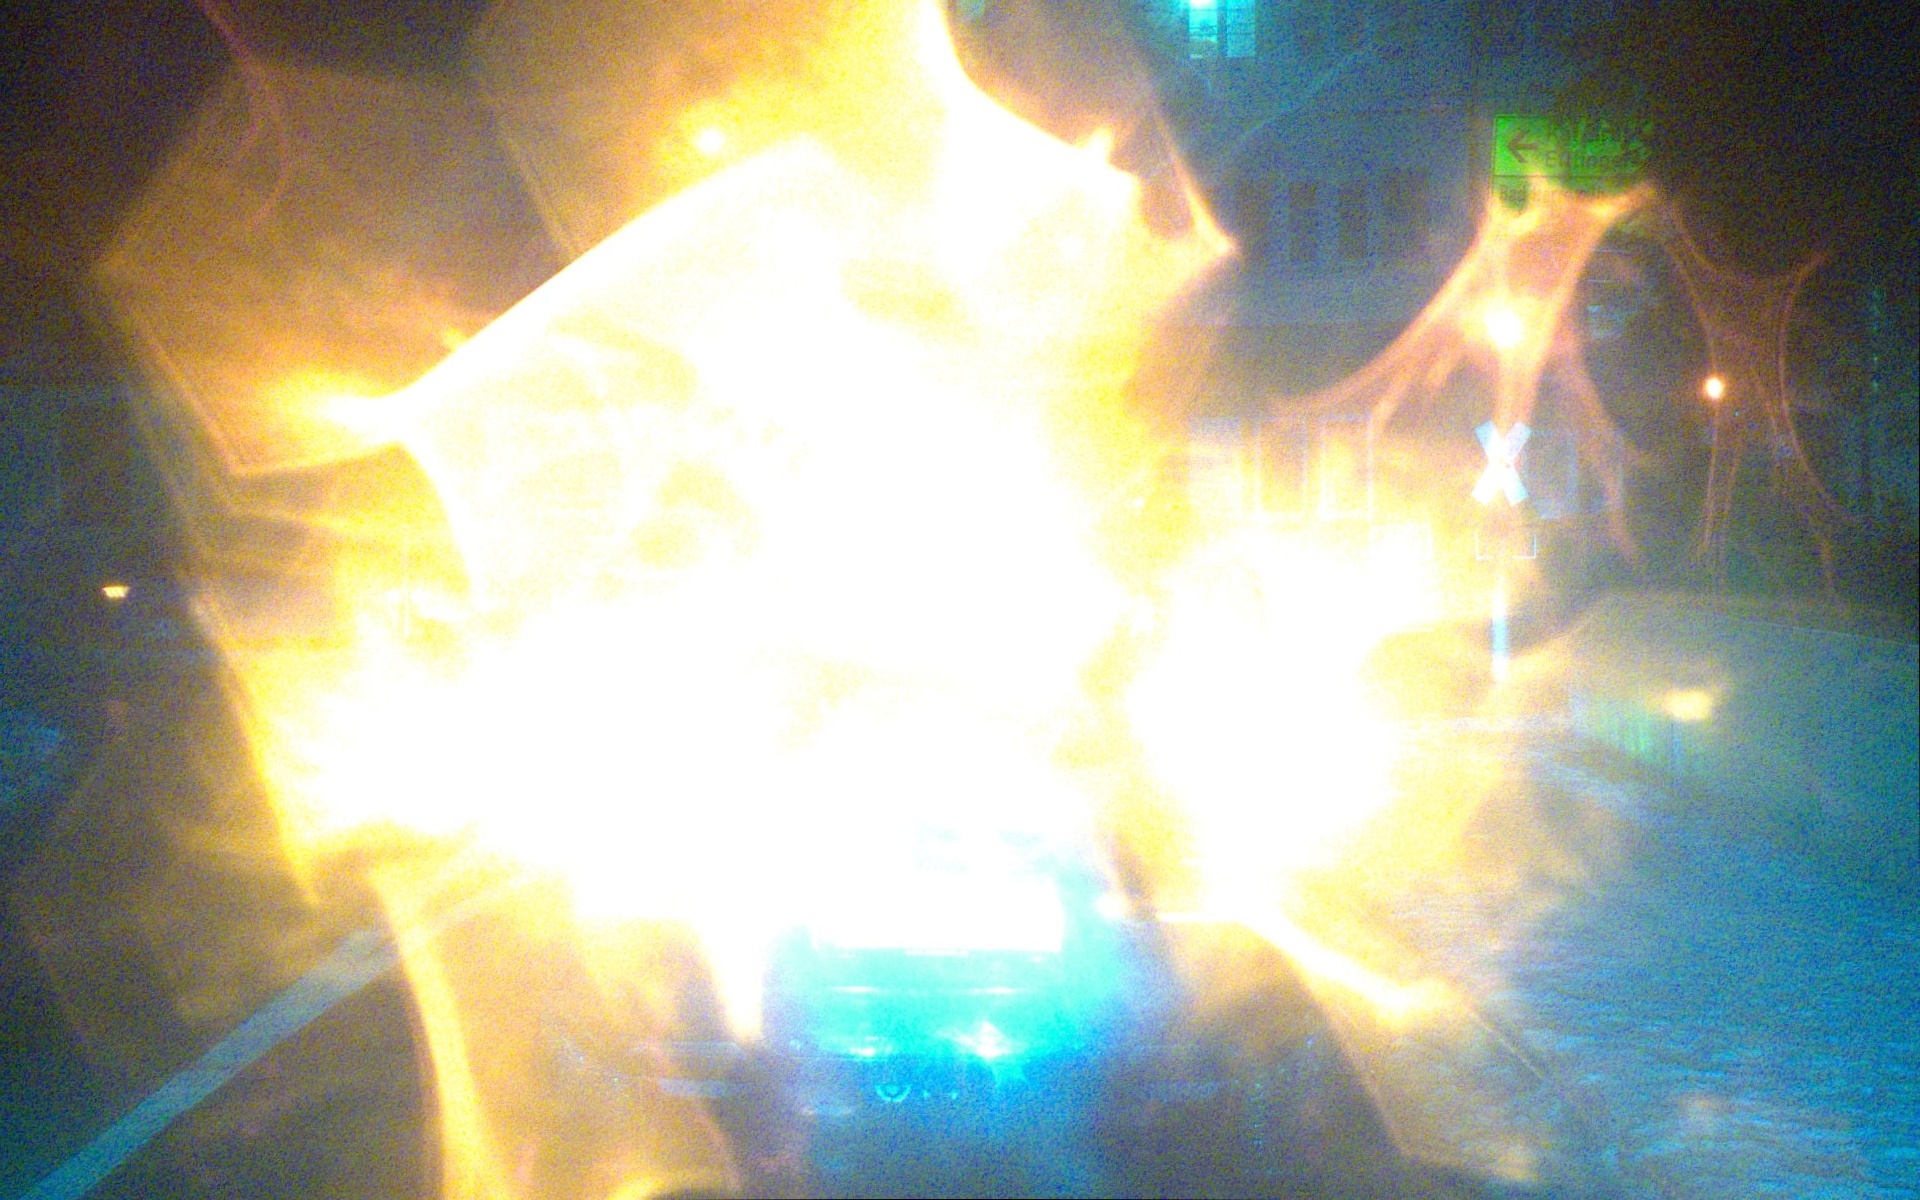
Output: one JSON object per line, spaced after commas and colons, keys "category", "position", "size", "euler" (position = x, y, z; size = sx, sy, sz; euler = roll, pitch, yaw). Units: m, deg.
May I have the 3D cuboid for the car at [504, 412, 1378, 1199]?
{"category": "car", "position": [0.001, 0.392, 9.022], "size": [1.791, 1.675, 3.905], "euler": [0, 2, 1]}

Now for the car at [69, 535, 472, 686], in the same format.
{"category": "car", "position": [-8.898, 0.155, 44.539], "size": [4.688, 1.787, 1.999], "euler": [-2, -1, 10]}

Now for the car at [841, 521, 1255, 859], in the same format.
{"category": "car", "position": [0.487, 0.338, 16.532], "size": [1.744, 1.410, 4.000], "euler": [0, 1, 3]}
